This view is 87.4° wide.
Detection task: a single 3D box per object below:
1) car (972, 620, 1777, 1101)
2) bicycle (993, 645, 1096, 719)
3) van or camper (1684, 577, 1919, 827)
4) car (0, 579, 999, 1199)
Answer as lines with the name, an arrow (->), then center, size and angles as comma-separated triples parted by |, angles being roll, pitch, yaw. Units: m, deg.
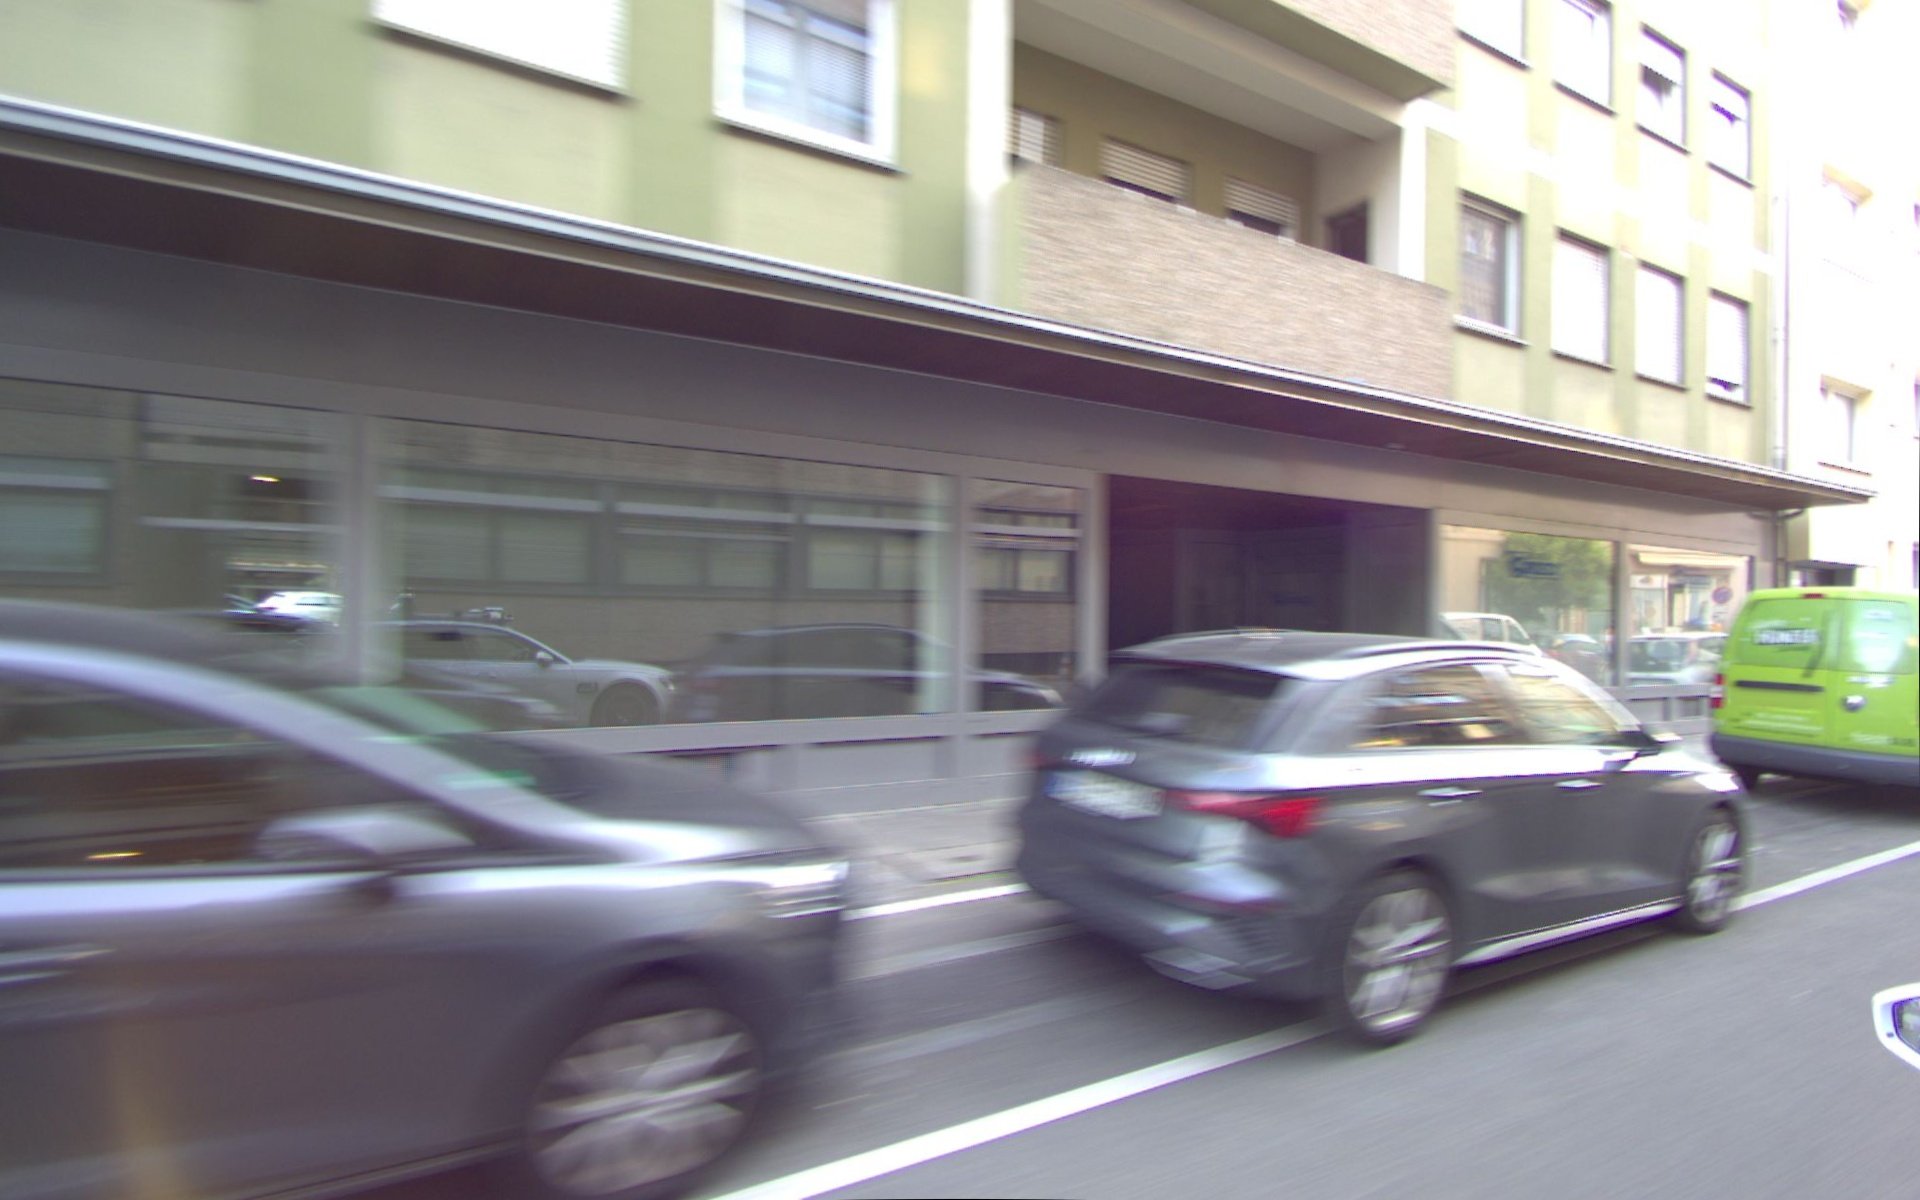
car -> 2.146, 0.863, 4.825 | 3.938, 1.434, 1.615 | 2, -1, -33
bicycle -> 1.199, 1.157, 14.592 | 0.493, 0.952, 1.682 | 2, -1, -37
van or camper -> 8.626, 0.825, 9.175 | 4.129, 1.872, 1.764 | 2, -2, -30
car -> -1.940, 0.735, 2.579 | 3.833, 1.504, 1.616 | 2, -2, -31
